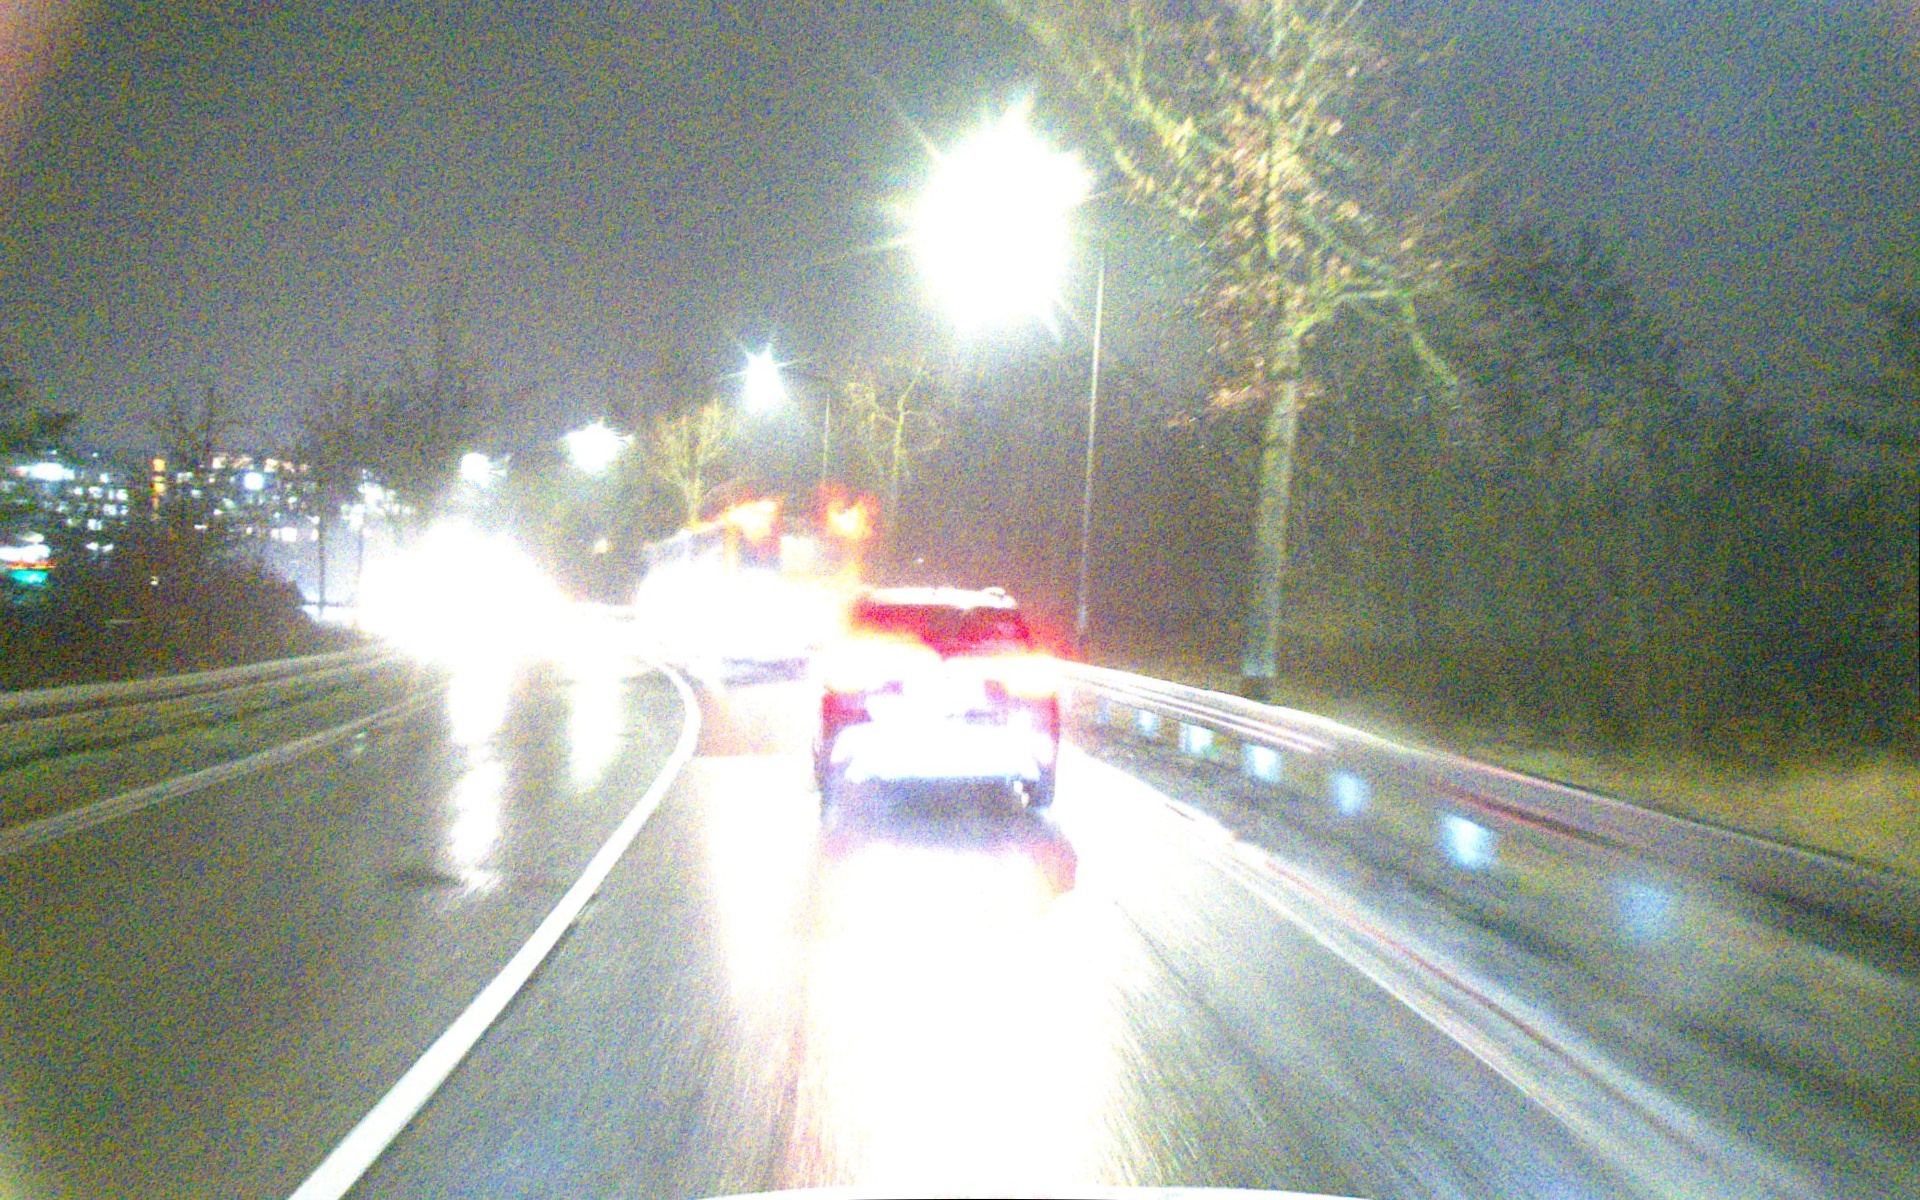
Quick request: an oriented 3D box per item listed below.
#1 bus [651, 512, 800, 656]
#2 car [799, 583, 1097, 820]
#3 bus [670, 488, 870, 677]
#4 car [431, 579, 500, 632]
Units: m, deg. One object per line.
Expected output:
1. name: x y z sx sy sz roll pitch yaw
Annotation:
1. bus: -6.174 -0.393 42.289 2.991 3.268 9.019 0 0 -13
2. car: -0.209 0.665 12.930 1.954 1.551 3.997 1 0 -4
3. bus: -4.093 -0.337 33.496 2.991 3.268 9.019 0 0 -13
4. car: -20.081 0.183 67.036 2.413 2.022 5.462 0 0 -20
